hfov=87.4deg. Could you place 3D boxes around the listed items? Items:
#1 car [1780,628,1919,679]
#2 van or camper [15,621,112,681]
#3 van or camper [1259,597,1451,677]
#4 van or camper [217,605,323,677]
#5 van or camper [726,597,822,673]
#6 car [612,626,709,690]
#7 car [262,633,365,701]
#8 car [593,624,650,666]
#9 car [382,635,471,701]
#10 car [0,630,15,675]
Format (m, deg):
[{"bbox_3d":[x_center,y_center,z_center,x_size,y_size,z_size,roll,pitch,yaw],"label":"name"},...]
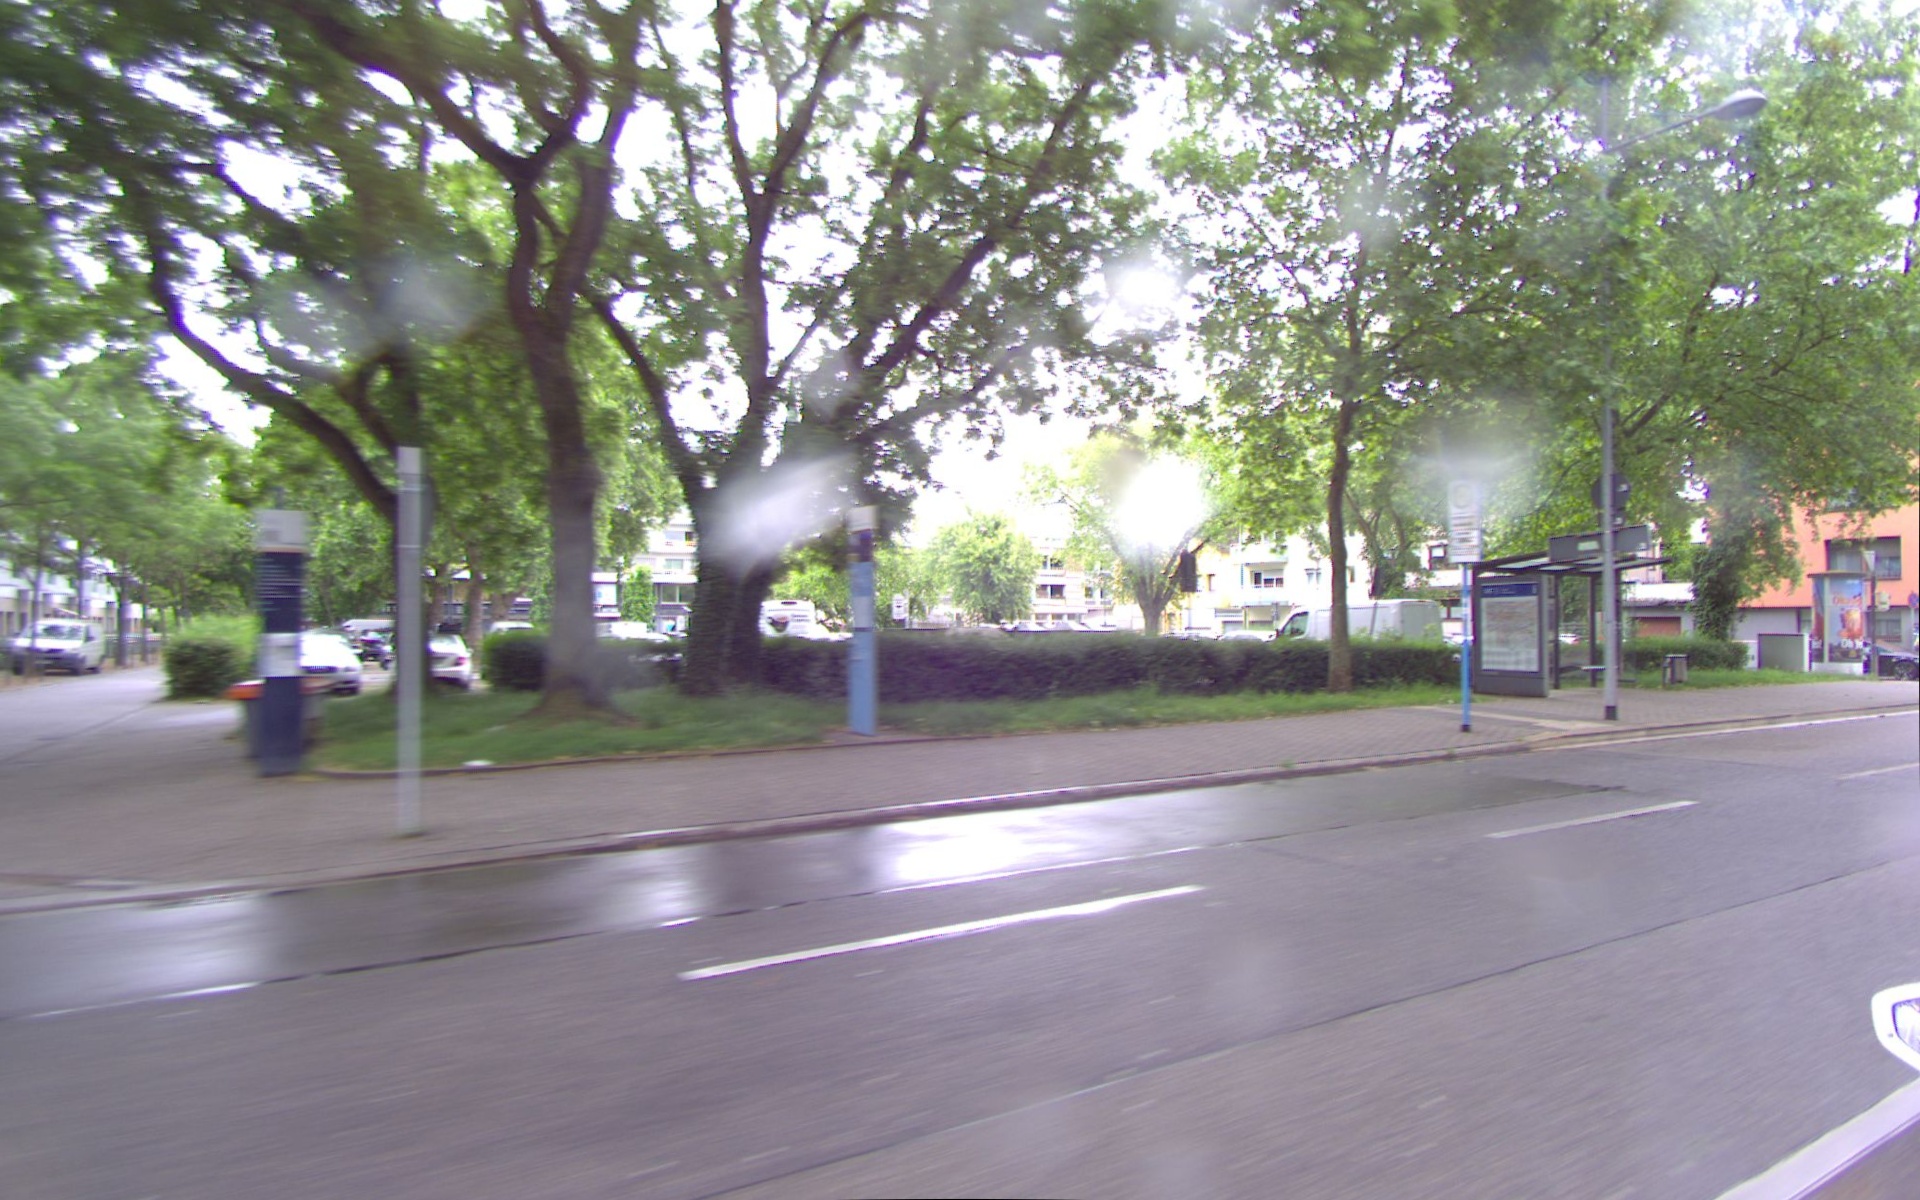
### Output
[{"bbox_3d":[30.663,1.793,34.108,1.837,1.647,4.088,1,-3,-41],"label":"car"},{"bbox_3d":[-33.091,1.886,37.199,1.807,2.040,4.597,3,-4,-32],"label":"van or camper"},{"bbox_3d":[10.542,0.966,27.167,1.978,1.975,4.572,1,-1,-32],"label":"van or camper"},{"bbox_3d":[-26.123,1.507,38.364,2.532,2.433,8.586,1,-2,-29],"label":"van or camper"},{"bbox_3d":[-6.535,1.185,34.874,2.074,2.463,4.309,1,-1,-28],"label":"van or camper"},{"bbox_3d":[-8.466,1.569,28.174,1.841,1.647,3.971,1,-2,-28],"label":"car"},{"bbox_3d":[-15.424,1.540,24.124,1.841,1.483,3.614,1,-2,-29],"label":"car"},{"bbox_3d":[-15.952,2.091,47.251,1.782,1.848,3.968,1,-2,-30],"label":"car"},{"bbox_3d":[-13.445,1.638,25.331,1.841,1.483,3.971,1,-2,-28],"label":"car"},{"bbox_3d":[-36.916,1.882,36.094,3.953,1.617,1.767,1,-1,-30],"label":"car"}]
